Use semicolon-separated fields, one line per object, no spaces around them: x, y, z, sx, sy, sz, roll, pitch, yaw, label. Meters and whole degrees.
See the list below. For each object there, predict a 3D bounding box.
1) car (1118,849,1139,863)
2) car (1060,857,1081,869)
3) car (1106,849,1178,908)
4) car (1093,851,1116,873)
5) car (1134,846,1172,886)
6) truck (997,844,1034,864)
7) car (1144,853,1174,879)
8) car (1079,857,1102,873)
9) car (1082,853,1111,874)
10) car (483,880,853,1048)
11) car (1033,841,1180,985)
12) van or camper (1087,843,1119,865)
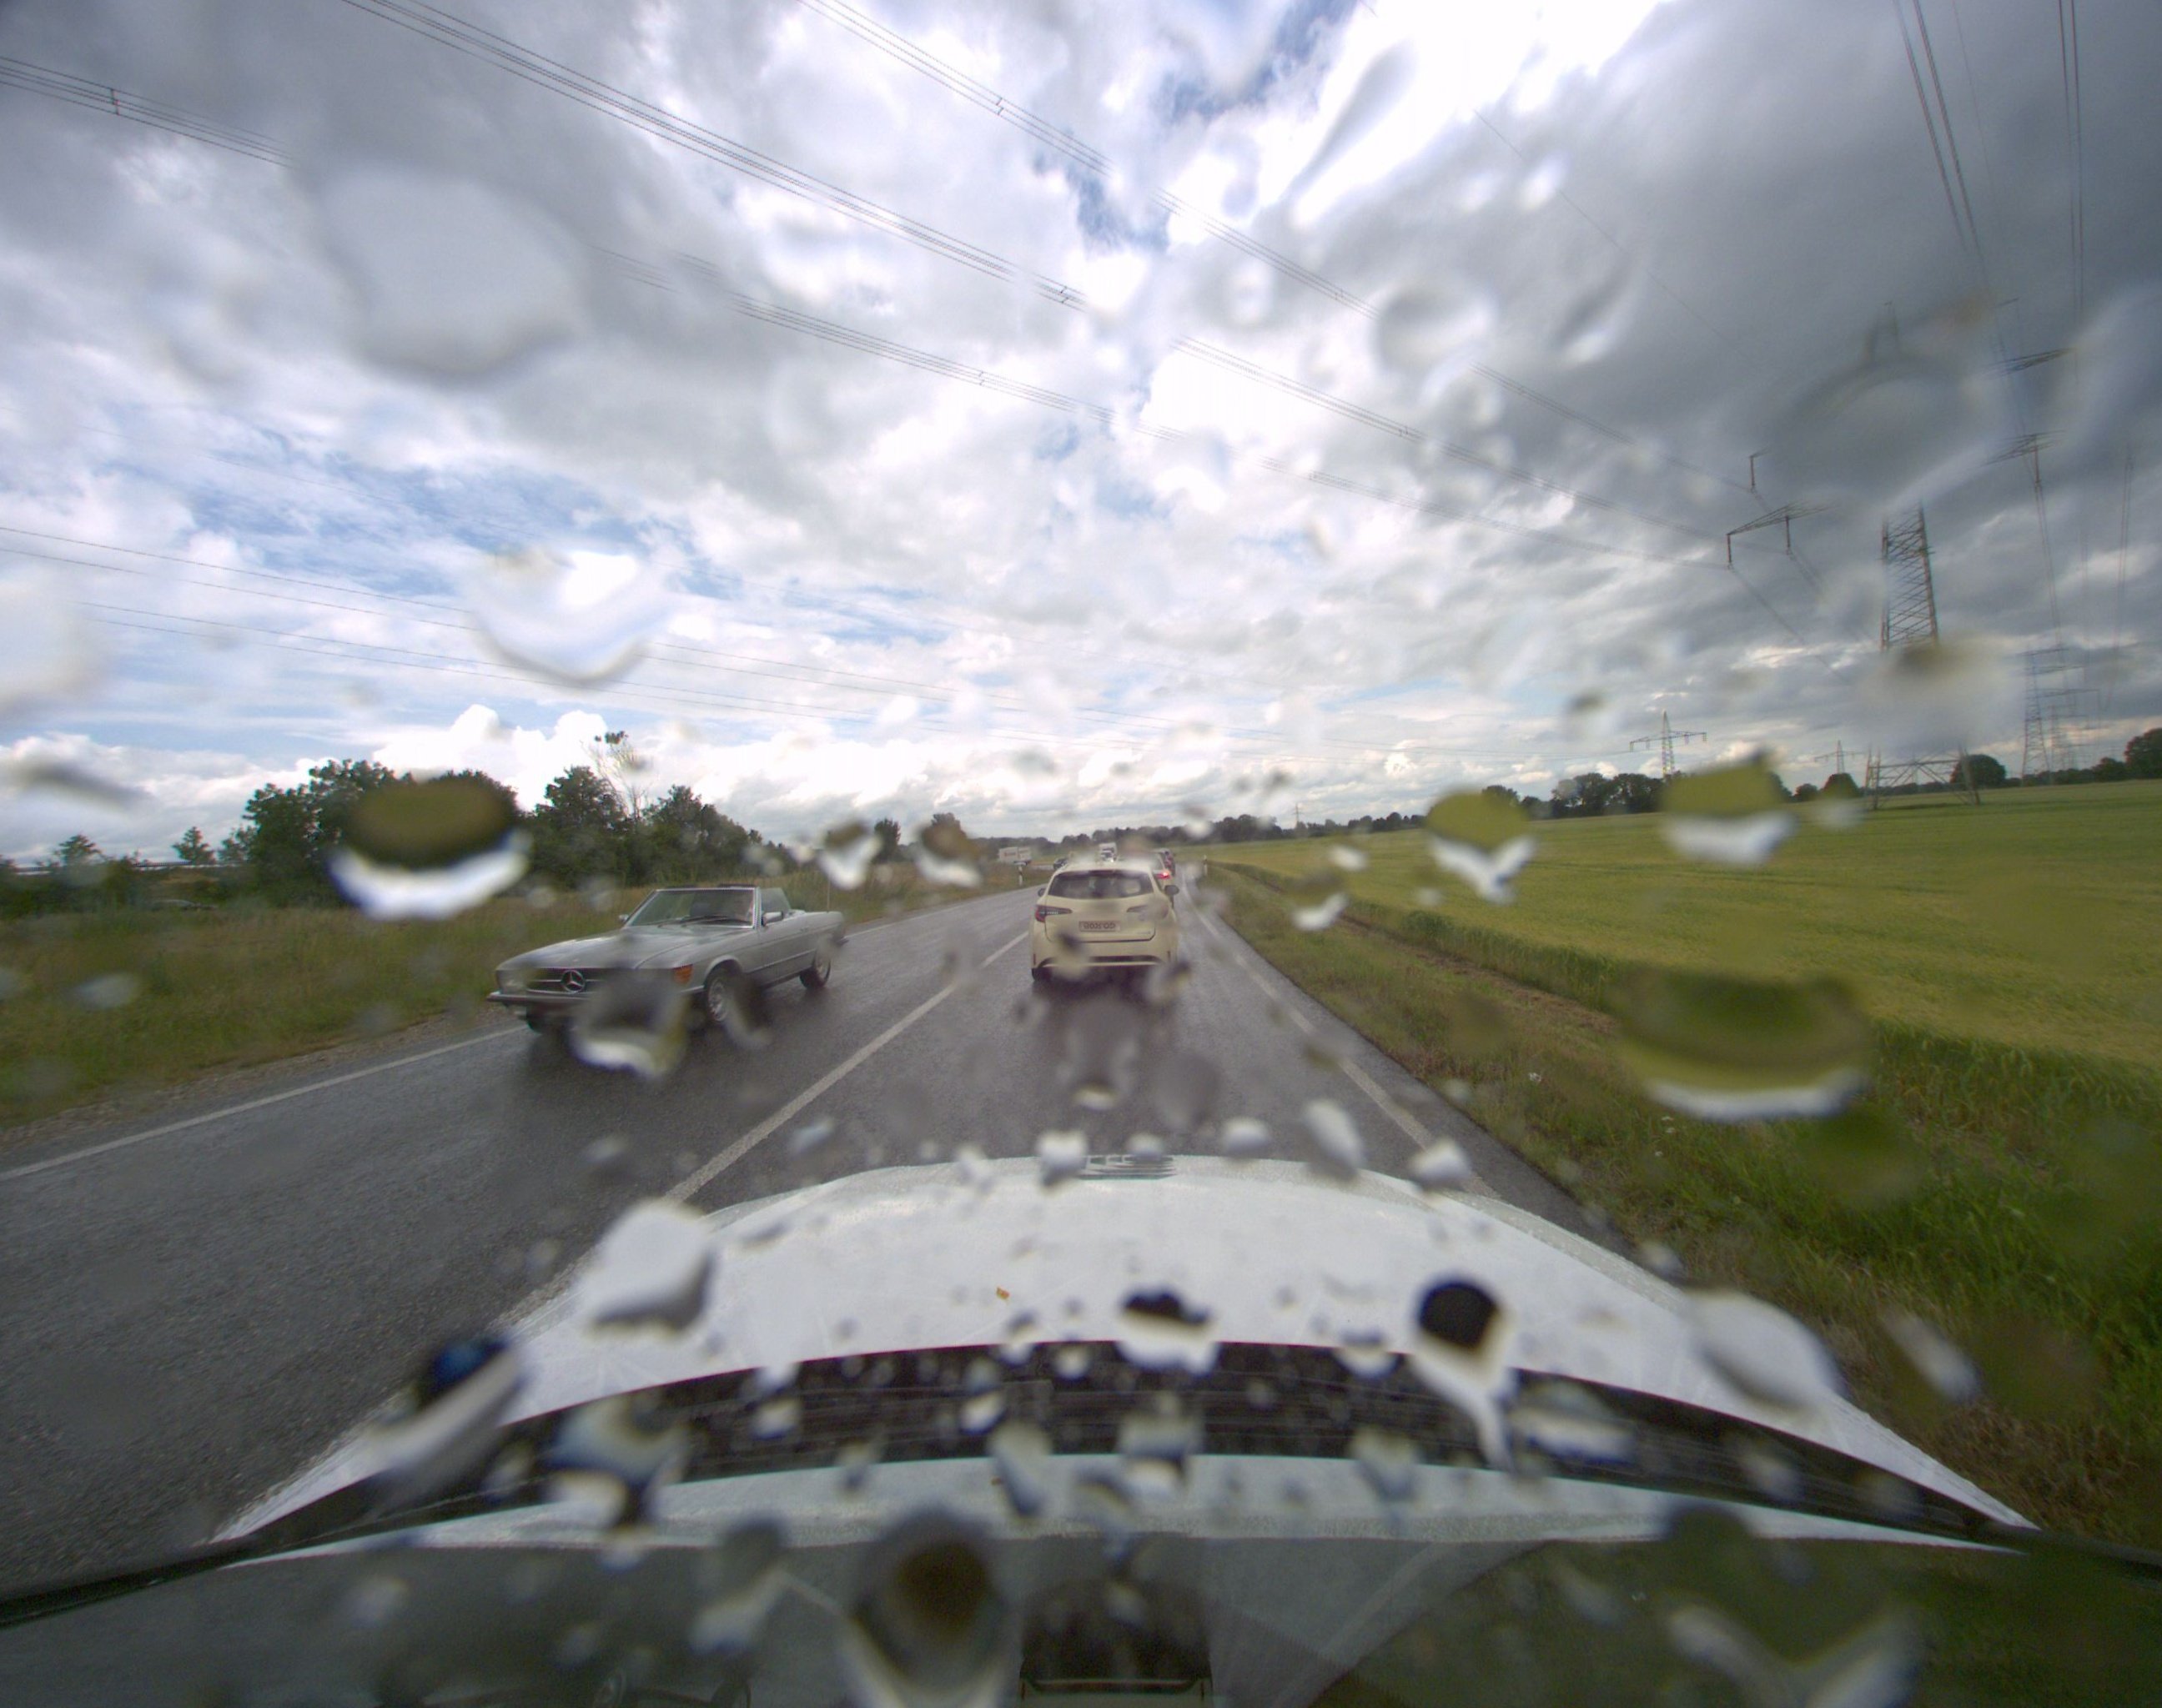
5.318;0.257;91.690;1.781;1.413;3.729;-1;-1;-6;car
-1.435;1.187;108.858;1.852;1.448;4.069;-3;0;-15;car
1.765;0.631;23.308;1.832;1.492;4.614;-1;0;5;car
2.144;0.680;72.498;1.836;1.855;4.451;-1;-1;4;car
3.208;0.539;36.505;1.605;1.659;3.742;-1;-1;4;car
-11.408;0.005;140.863;3.034;3.209;8.149;0;-2;-32;truck
4.518;0.690;46.934;1.605;1.413;3.744;-1;-1;6;car
1.076;1.276;95.219;1.849;1.631;4.519;-3;0;-10;car
1.111;0.657;57.357;1.836;1.388;4.290;-1;0;3;car
-3.943;0.965;8.650;1.712;1.251;4.002;-2;-1;3;car
0.484;0.695;10.855;1.604;1.562;3.745;-1;-1;6;car
2.850;0.008;108.370;2.540;2.896;6.711;-1;0;-13;van or camper
